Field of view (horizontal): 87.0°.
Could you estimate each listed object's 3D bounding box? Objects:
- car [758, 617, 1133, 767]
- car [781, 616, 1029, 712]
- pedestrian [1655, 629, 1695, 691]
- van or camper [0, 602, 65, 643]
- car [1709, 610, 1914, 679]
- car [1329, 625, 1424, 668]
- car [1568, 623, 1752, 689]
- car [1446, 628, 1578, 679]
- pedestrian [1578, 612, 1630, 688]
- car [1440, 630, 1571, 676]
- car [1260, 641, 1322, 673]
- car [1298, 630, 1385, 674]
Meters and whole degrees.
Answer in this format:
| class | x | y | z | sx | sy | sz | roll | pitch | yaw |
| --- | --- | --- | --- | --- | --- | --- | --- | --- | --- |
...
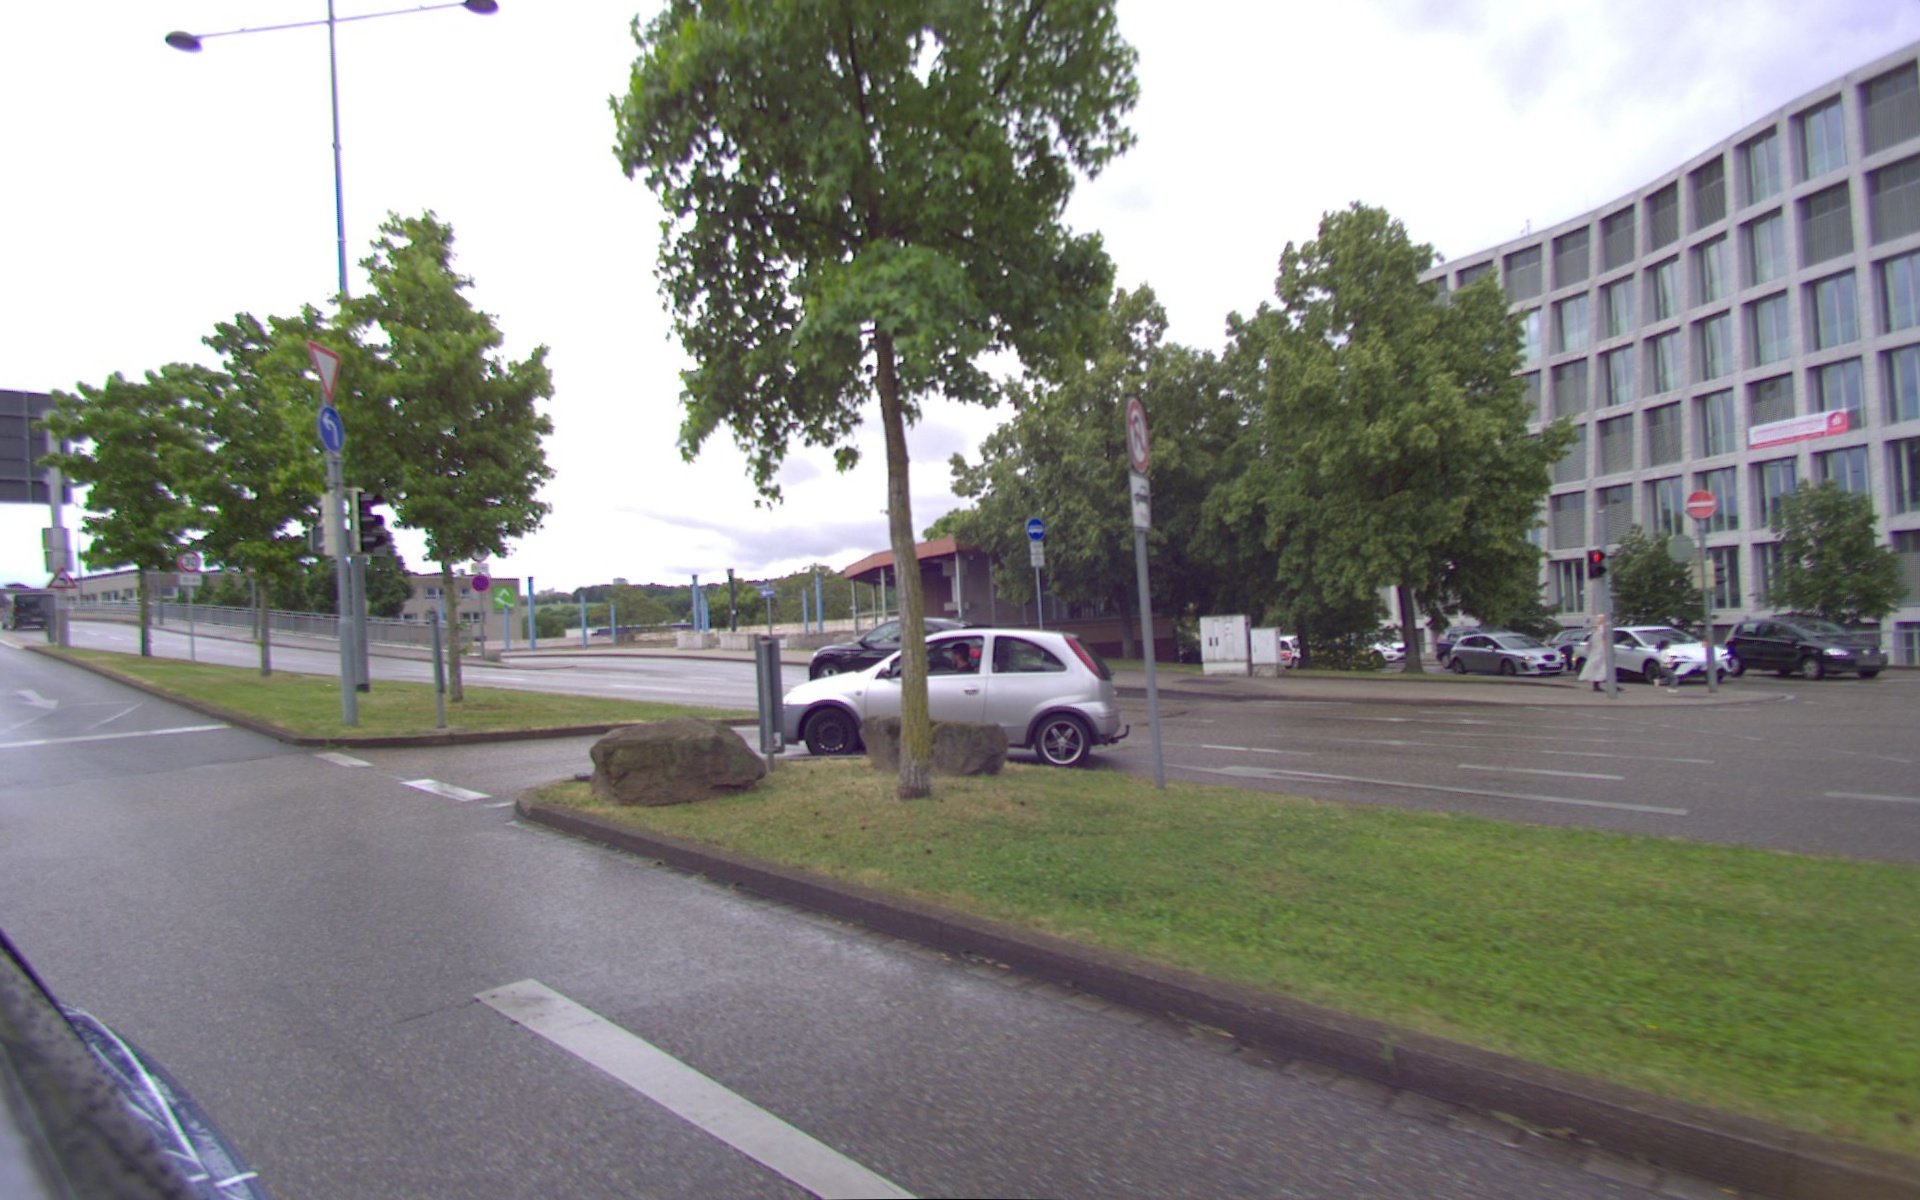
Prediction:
| class | x | y | z | sx | sy | sz | roll | pitch | yaw |
| --- | --- | --- | --- | --- | --- | --- | --- | --- | --- |
| car | -0.090 | 0.970 | 11.047 | 3.833 | 1.459 | 1.632 | -1 | -2 | 10 |
| car | -1.170 | 1.186 | 20.448 | 4.841 | 1.674 | 1.894 | 0 | 0 | 32 |
| pedestrian | 15.292 | 1.270 | 21.662 | 0.628 | 1.302 | 0.647 | -1 | -2 | 30 |
| van or camper | -50.567 | 1.198 | 54.611 | 5.271 | 2.088 | 2.197 | 0 | -2 | 35 |
| car | 21.513 | 1.123 | 25.801 | 1.702 | 1.580 | 3.842 | -2 | -2 | -5 |
| car | 18.944 | 2.114 | 46.267 | 1.699 | 1.832 | 4.440 | -1 | -2 | -12 |
| car | 18.736 | 1.475 | 27.368 | 1.860 | 1.580 | 4.143 | -2 | -2 | -3 |
| car | 17.953 | 1.720 | 33.165 | 1.701 | 1.520 | 4.061 | -2 | -2 | -6 |
| pedestrian | 13.617 | 1.052 | 21.408 | 0.643 | 1.582 | 0.632 | 1 | -2 | -5 |
| car | 20.524 | 1.970 | 38.339 | 1.700 | 1.580 | 4.591 | -1 | -2 | -12 |
| car | 17.296 | 2.938 | 53.024 | 1.547 | 1.564 | 3.189 | -2 | -2 | -13 |
| car | 15.992 | 2.152 | 42.632 | 1.700 | 1.711 | 3.659 | -2 | -2 | -10 |
